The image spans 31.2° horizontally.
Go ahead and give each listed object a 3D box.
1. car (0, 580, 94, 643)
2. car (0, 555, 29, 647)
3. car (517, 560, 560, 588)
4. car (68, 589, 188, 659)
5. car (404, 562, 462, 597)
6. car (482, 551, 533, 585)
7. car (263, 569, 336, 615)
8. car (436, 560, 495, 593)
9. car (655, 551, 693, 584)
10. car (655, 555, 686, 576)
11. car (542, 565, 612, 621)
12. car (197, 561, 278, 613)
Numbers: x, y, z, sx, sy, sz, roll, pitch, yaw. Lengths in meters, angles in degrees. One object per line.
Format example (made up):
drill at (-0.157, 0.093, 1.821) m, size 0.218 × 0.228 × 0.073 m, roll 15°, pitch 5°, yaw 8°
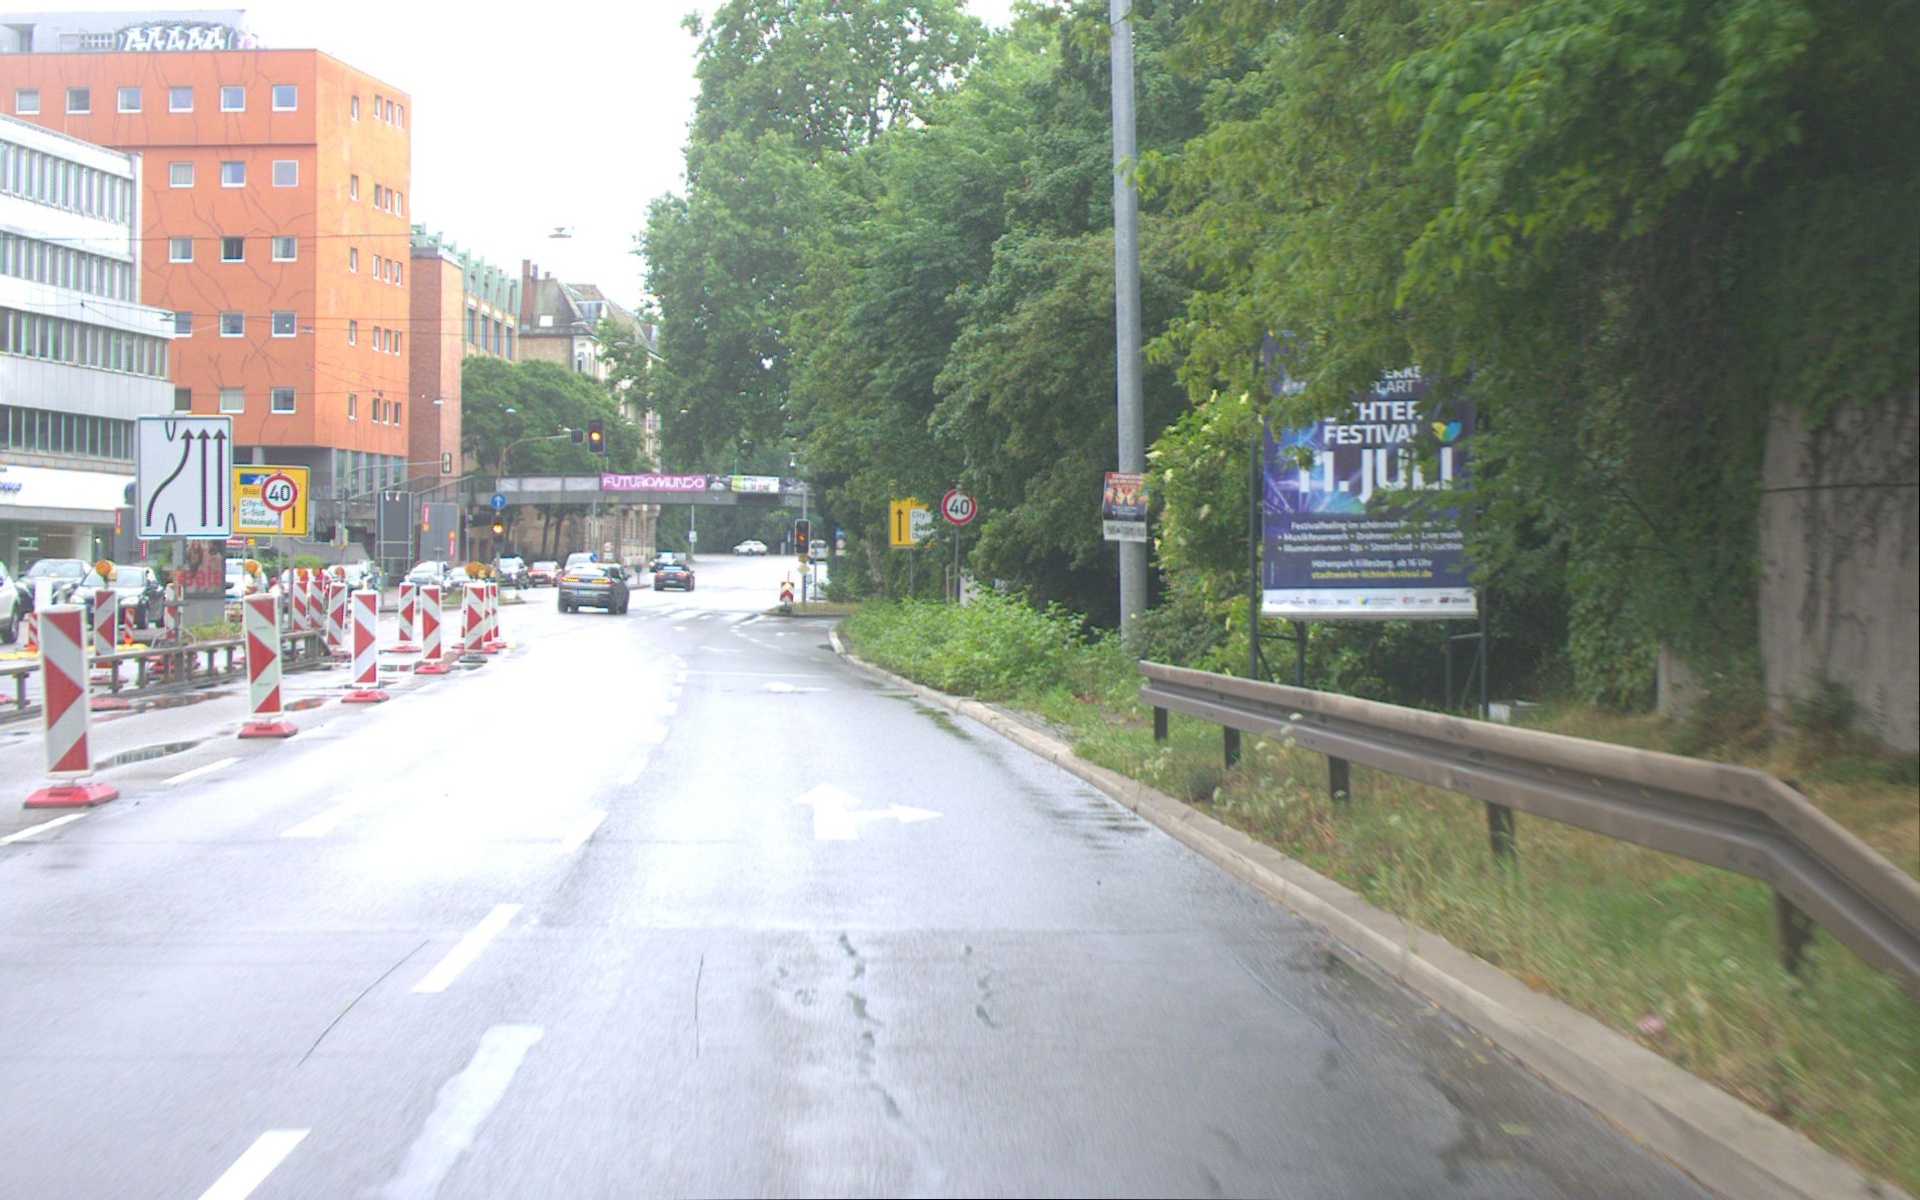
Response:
car at (-23.252, 0.273, 87.332) m, size 1.710 × 1.531 × 4.078 m, roll -1°, pitch 1°, yaw -4°
car at (-18.696, 0.024, 63.608) m, size 1.938 × 1.684 × 4.581 m, roll 0°, pitch 1°, yaw -4°
car at (-23.322, -1.438, 190.367) m, size 1.829 × 1.497 × 4.373 m, roll -1°, pitch 1°, yaw 0°
car at (-19.035, 0.529, 78.825) m, size 1.959 × 1.516 × 4.300 m, roll 0°, pitch 1°, yaw -4°
car at (-23.822, -0.913, 155.617) m, size 1.808 × 1.553 × 4.301 m, roll 0°, pitch 0°, yaw 2°
car at (-23.418, -1.674, 178.092) m, size 1.845 × 1.731 × 4.604 m, roll 0°, pitch 0°, yaw 3°
car at (-20.485, -0.260, 106.741) m, size 1.735 × 1.399 × 4.290 m, roll 1°, pitch 0°, yaw -4°
car at (-20.731, -1.001, 144.269) m, size 1.689 × 1.350 × 4.114 m, roll -1°, pitch 1°, yaw 3°
car at (-14.901, -1.692, 179.330) m, size 1.763 × 1.691 × 3.706 m, roll -1°, pitch 0°, yaw -2°
car at (-21.338, -2.548, 253.144) m, size 1.993 × 1.514 × 4.000 m, roll 1°, pitch 0°, yaw -1°
car at (-13.149, -0.261, 118.147) m, size 2.120 × 1.729 × 4.199 m, roll 2°, pitch 2°, yaw -4°
car at (-23.841, -0.443, 113.618) m, size 1.979 × 1.701 × 4.832 m, roll 0°, pitch 0°, yaw -4°
